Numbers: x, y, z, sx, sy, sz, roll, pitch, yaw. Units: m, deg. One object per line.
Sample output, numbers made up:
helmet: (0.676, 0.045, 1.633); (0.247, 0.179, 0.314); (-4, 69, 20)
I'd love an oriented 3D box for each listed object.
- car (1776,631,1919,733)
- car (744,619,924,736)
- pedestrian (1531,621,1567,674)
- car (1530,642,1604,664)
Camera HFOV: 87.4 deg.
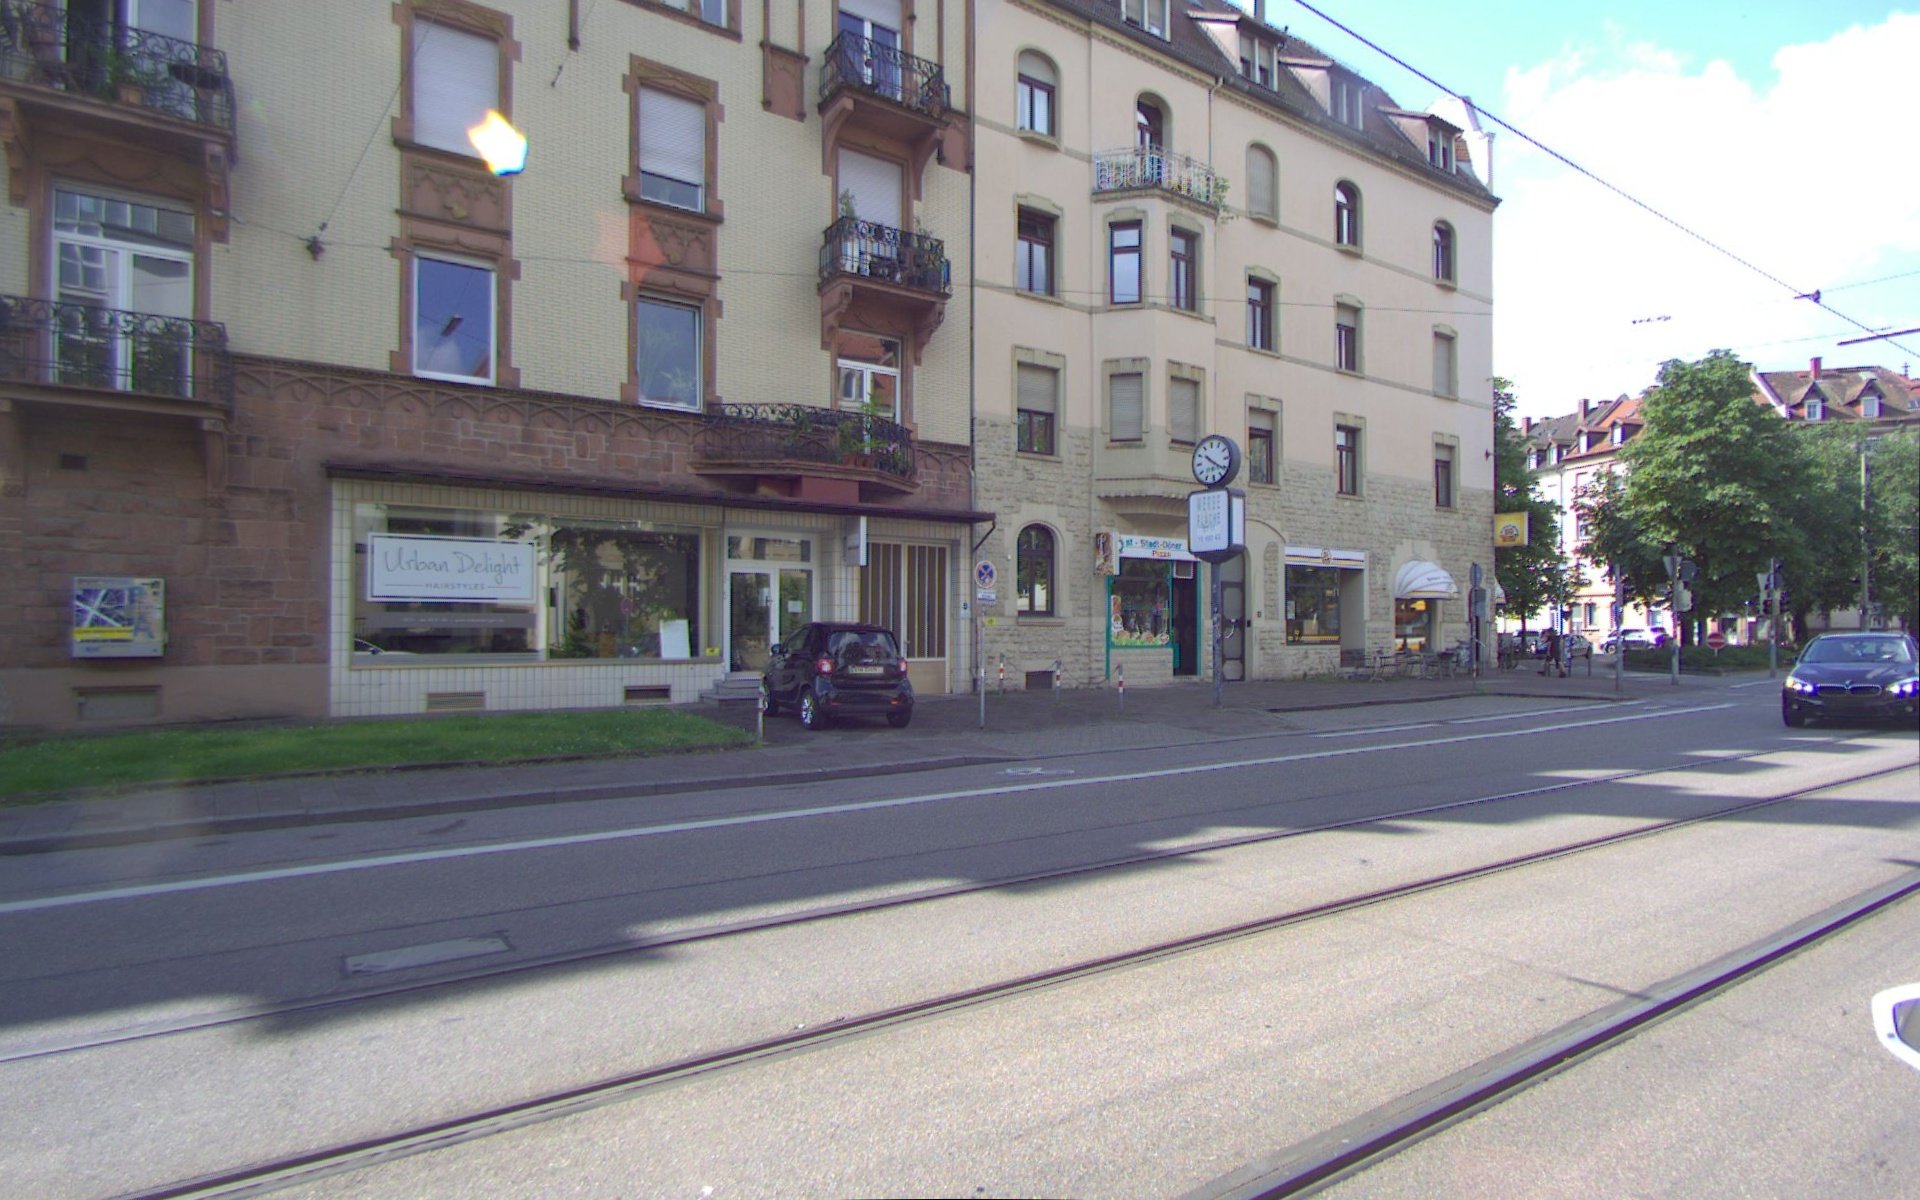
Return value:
car: (15.284, 1.301, 17.135); (1.738, 1.538, 4.043); (-1, -2, 45)
car: (-2.068, 1.119, 15.841); (1.716, 1.505, 3.162); (1, 1, -30)
pedestrian: (19.342, 1.563, 33.013); (0.690, 1.706, 0.750); (1, -1, -21)
car: (35.611, 3.106, 58.899); (3.940, 1.198, 1.671); (1, -2, -21)
